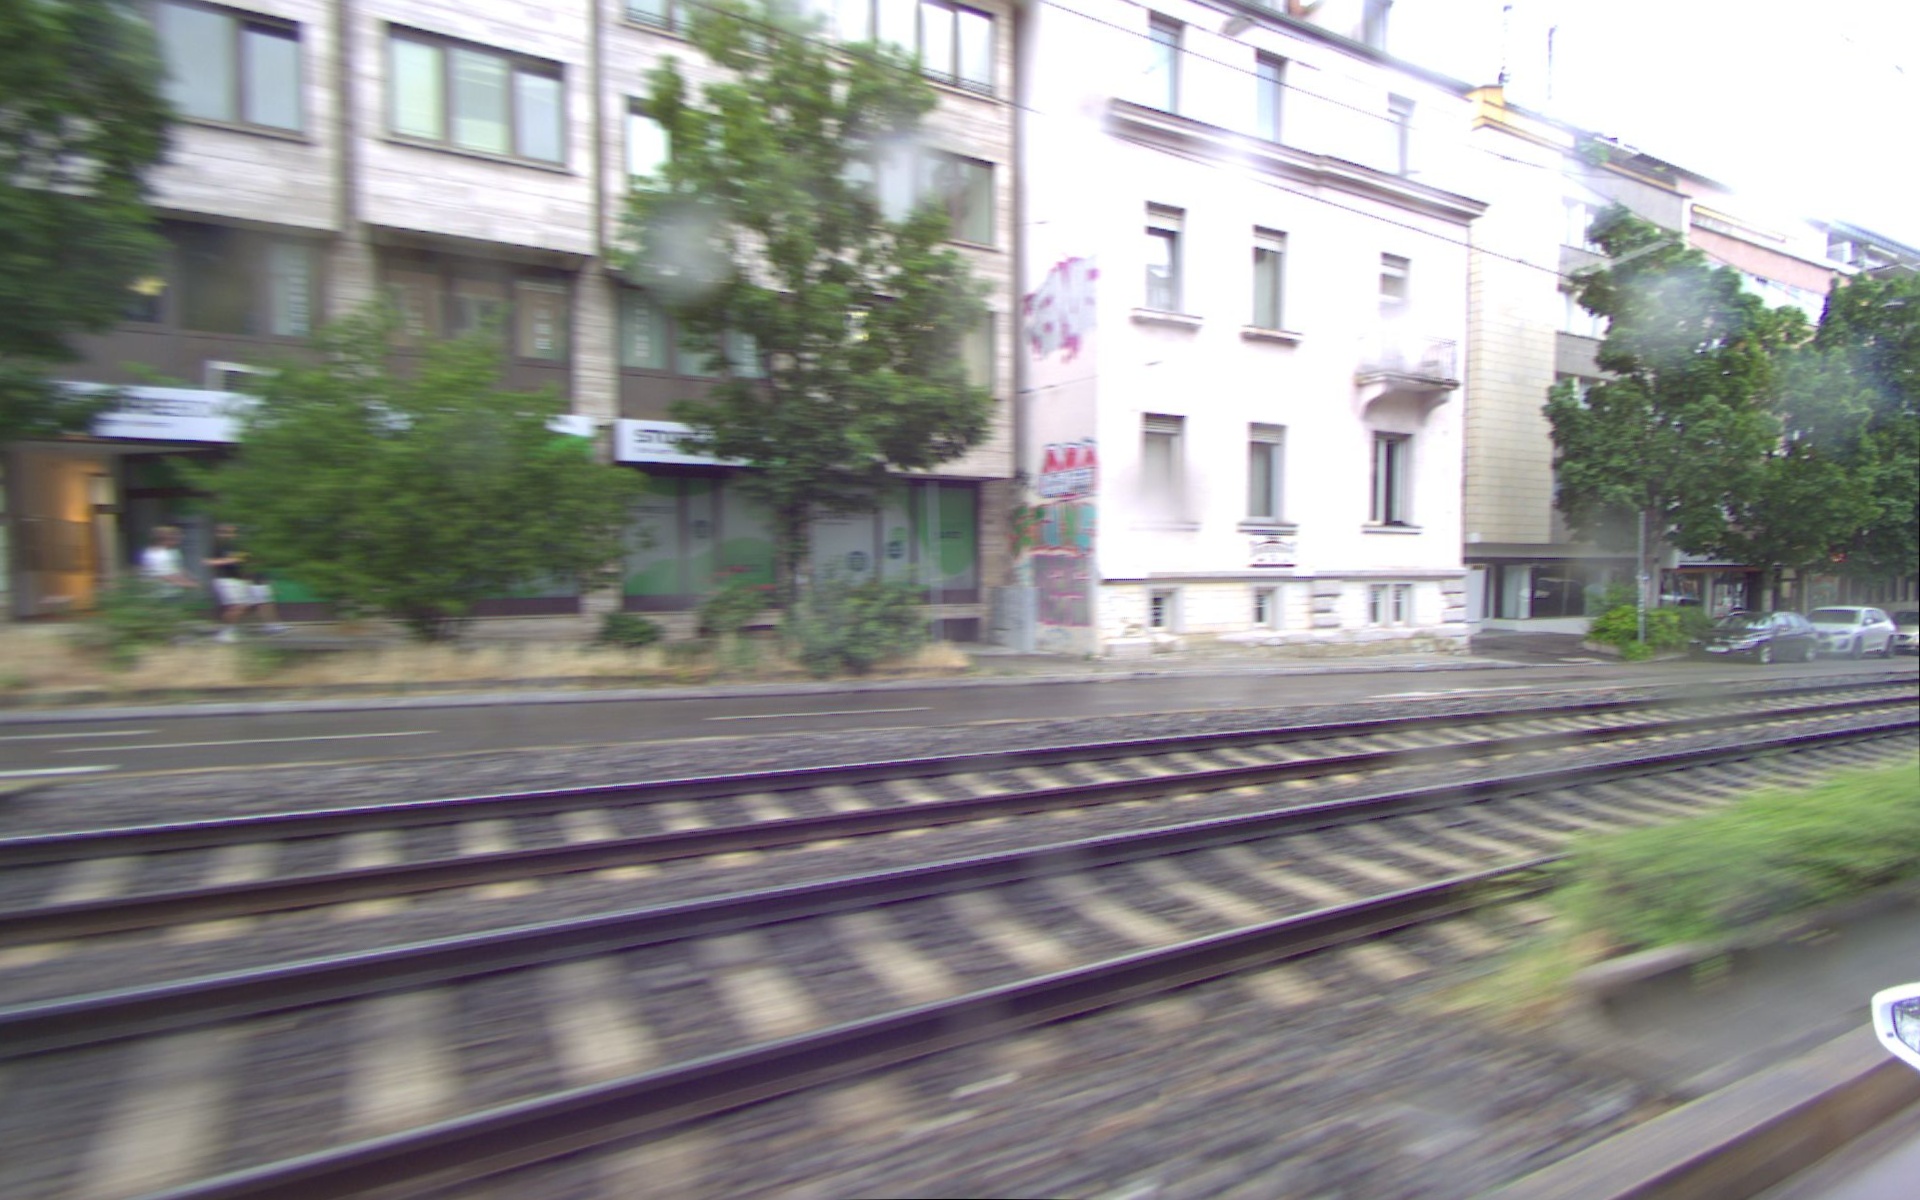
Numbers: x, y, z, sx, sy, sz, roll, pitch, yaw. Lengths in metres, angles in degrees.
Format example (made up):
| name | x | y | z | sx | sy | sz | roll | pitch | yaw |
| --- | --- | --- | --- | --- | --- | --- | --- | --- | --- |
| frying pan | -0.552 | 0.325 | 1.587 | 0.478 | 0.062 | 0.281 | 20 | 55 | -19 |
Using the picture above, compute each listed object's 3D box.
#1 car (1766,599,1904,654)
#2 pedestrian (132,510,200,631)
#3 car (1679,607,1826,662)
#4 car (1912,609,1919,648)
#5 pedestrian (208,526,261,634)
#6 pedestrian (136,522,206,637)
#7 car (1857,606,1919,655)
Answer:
| name | x | y | z | sx | sy | sz | roll | pitch | yaw |
| --- | --- | --- | --- | --- | --- | --- | --- | --- | --- |
| car | 28.116 | 0.850 | 32.243 | 4.664 | 1.569 | 1.847 | 2 | 1 | -30 |
| pedestrian | -11.857 | -0.444 | 15.021 | 0.676 | 1.747 | 0.644 | 2 | 2 | -31 |
| car | 22.991 | 1.013 | 29.103 | 4.664 | 1.396 | 1.686 | 3 | 1 | -30 |
| car | 37.782 | 1.110 | 37.675 | 4.378 | 1.436 | 1.847 | 2 | -2 | -30 |
| pedestrian | -11.182 | -0.312 | 15.495 | 0.579 | 1.619 | 0.501 | 2 | 3 | -31 |
| pedestrian | -11.251 | -0.294 | 14.338 | 0.676 | 1.569 | 0.644 | 2 | 2 | -31 |
| car | 33.660 | 1.106 | 35.316 | 4.378 | 1.569 | 1.847 | 2 | 1 | -30 |
